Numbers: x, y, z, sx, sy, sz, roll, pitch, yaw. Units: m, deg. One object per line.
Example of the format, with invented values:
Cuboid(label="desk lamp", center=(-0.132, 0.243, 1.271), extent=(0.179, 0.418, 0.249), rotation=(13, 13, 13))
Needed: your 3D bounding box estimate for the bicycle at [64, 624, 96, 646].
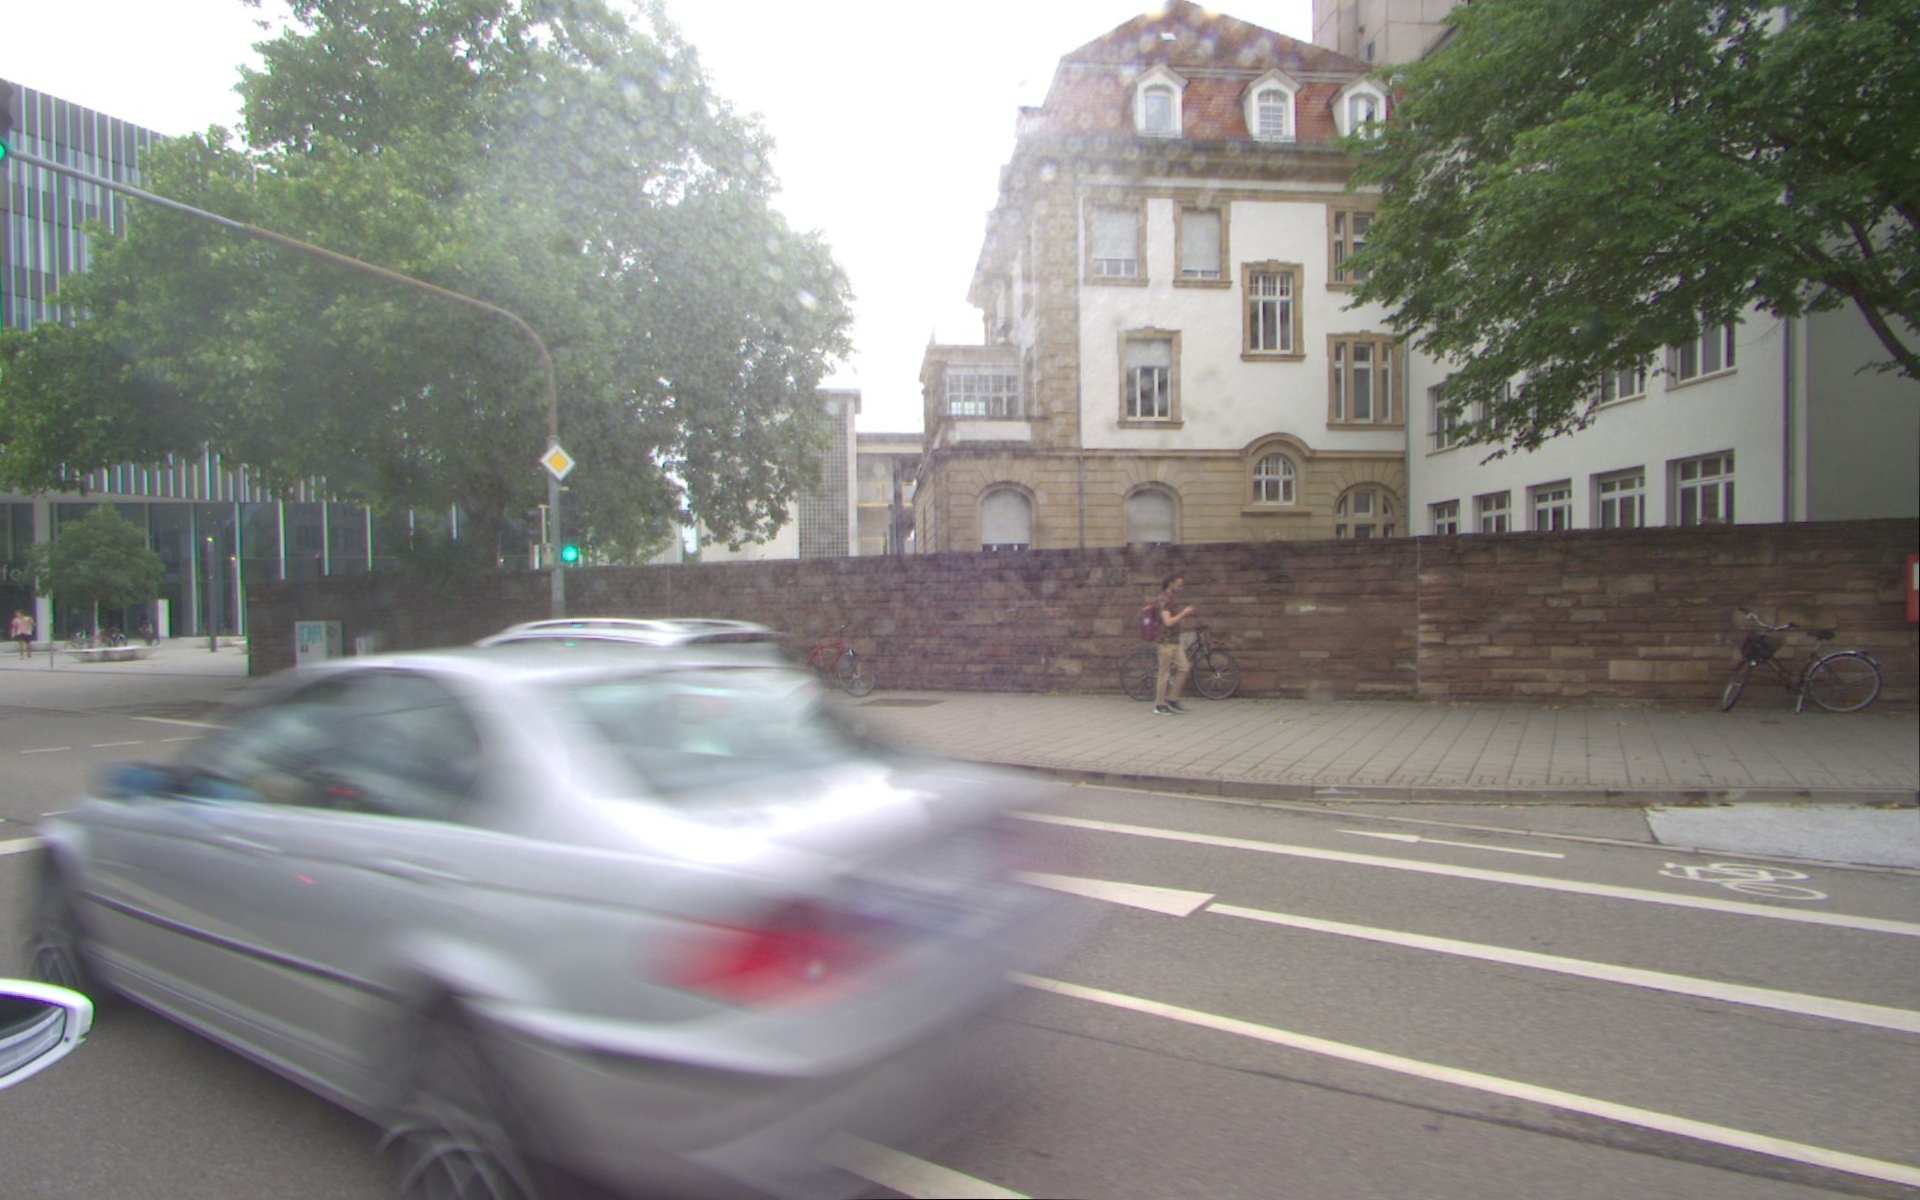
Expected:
Cuboid(label="bicycle", center=(-42.734, 1.670, 48.645), extent=(0.686, 0.959, 1.975), rotation=(-2, 2, -27))

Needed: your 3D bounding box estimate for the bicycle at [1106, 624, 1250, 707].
Cuboid(label="bicycle", center=(3.123, 0.912, 14.281), extent=(1.934, 1.088, 0.941), rotation=(-1, 2, 17))

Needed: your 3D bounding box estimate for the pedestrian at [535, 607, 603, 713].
Cuboid(label="pedestrian", center=(-6.166, 0.926, 15.800), extent=(0.627, 1.584, 0.658), rotation=(0, 5, 32))

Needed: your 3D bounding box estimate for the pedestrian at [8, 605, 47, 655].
Cuboid(label="pedestrian", center=(-34.398, 1.096, 36.943), extent=(0.756, 1.789, 0.845), rotation=(0, 2, 32))

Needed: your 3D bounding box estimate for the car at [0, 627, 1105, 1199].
Cuboid(label="car", center=(-1.747, 0.840, 3.656), extent=(4.184, 1.432, 1.719), rotation=(0, -1, 32))

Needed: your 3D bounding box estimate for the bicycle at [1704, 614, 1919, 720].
Cuboid(label="bicycle", center=(9.964, 0.757, 11.676), extent=(1.889, 1.143, 0.849), rotation=(-1, 2, 17))

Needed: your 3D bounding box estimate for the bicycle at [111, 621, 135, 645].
Cuboid(label="bicycle", center=(-40.702, 1.609, 48.697), extent=(0.802, 1.070, 1.933), rotation=(-2, 2, -38))

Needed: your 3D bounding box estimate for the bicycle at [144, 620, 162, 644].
Cuboid(label="bicycle", center=(-39.450, 1.568, 48.977), extent=(0.616, 1.070, 1.933), rotation=(-2, 2, -38))

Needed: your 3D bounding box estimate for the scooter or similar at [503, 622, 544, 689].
Cuboid(label="scooter or similar", center=(-8.584, 1.070, 19.684), extent=(0.427, 1.195, 1.693), rotation=(-3, 2, -33))

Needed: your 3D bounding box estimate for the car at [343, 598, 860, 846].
Cuboid(label="car", center=(-3.134, 0.873, 8.366), extent=(4.467, 1.570, 1.820), rotation=(-2, -3, 35))

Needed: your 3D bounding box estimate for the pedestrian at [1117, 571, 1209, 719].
Cuboid(label="pedestrian", center=(2.651, 0.556, 13.052), extent=(1.018, 1.846, 0.629), rotation=(0, 2, 32))

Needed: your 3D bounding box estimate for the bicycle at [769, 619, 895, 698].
Cuboid(label="bicycle", center=(-2.118, 0.938, 16.587), extent=(1.923, 1.190, 0.802), rotation=(0, 3, 27))

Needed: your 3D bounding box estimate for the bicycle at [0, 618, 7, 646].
Cuboid(label="bicycle", center=(-46.497, 1.548, 48.342), extent=(0.522, 1.270, 1.651), rotation=(-2, 2, -39))

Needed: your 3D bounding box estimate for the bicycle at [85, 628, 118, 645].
Cuboid(label="bicycle", center=(-41.839, 1.767, 48.819), extent=(0.510, 0.726, 1.525), rotation=(-1, 1, -11))
